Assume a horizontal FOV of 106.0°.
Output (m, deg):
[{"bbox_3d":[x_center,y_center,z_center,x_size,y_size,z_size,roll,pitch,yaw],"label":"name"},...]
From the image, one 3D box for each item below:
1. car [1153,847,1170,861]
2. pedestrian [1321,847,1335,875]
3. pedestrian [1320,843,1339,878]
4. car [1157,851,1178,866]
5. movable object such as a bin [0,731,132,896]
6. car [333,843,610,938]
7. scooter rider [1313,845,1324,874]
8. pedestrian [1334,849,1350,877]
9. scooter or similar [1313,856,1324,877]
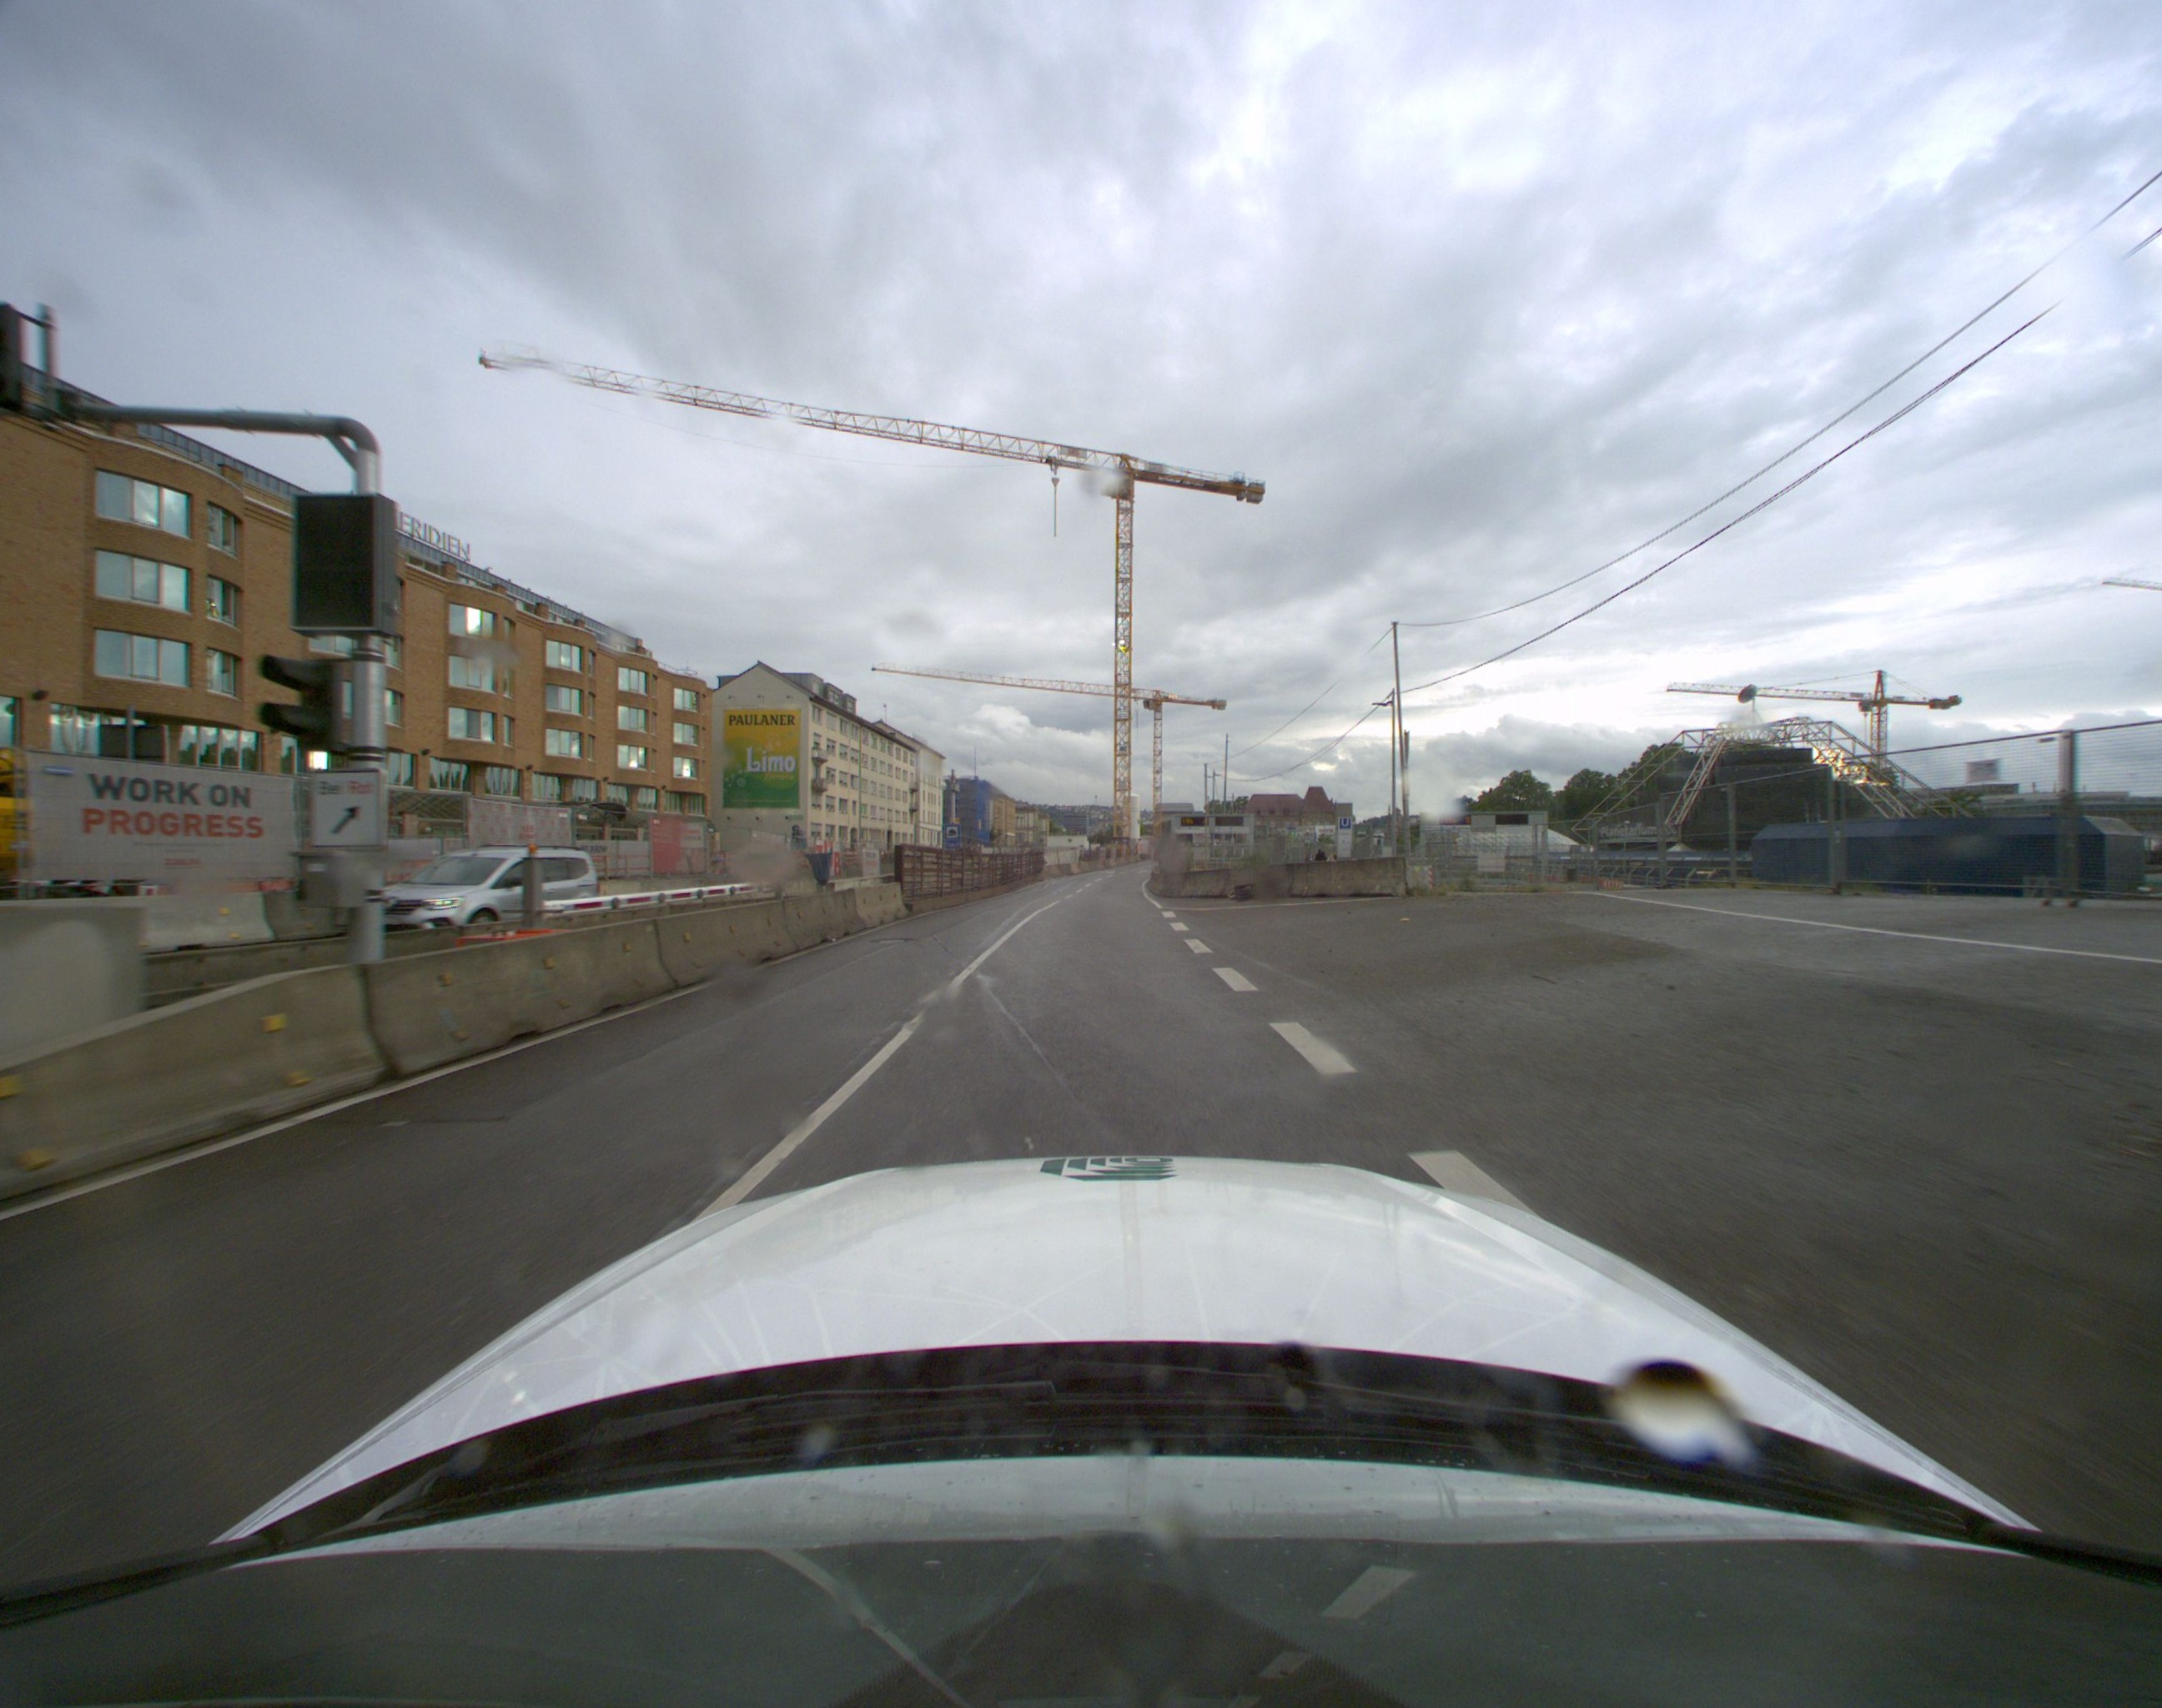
[{"bbox_3d":[10.089,0.023,101.687,1.852,1.660,4.667,0,1,8],"label":"car"},{"bbox_3d":[16.170,0.454,53.300,0.686,1.778,1.024,-1,-1,5],"label":"pedestrian"},{"bbox_3d":[12.837,0.360,42.037,0.688,1.778,0.815,-1,-1,-2],"label":"pedestrian"},{"bbox_3d":[8.691,0.403,81.593,1.852,1.433,4.666,-1,0,8],"label":"car"},{"bbox_3d":[-16.181,-0.522,10.788,2.020,2.277,4.293,-4,0,0],"label":"movable object such as a bin"},{"bbox_3d":[-11.396,0.582,15.732,1.739,1.549,4.528,-1,1,3],"label":"car"},{"bbox_3d":[14.142,0.321,48.431,0.516,1.755,0.703,-1,0,22],"label":"scooter rider"},{"bbox_3d":[17.048,0.568,53.215,0.722,1.778,1.024,-1,-1,6],"label":"pedestrian"},{"bbox_3d":[14.148,0.745,48.437,0.486,1.179,1.102,-1,1,22],"label":"scooter or similar"}]
